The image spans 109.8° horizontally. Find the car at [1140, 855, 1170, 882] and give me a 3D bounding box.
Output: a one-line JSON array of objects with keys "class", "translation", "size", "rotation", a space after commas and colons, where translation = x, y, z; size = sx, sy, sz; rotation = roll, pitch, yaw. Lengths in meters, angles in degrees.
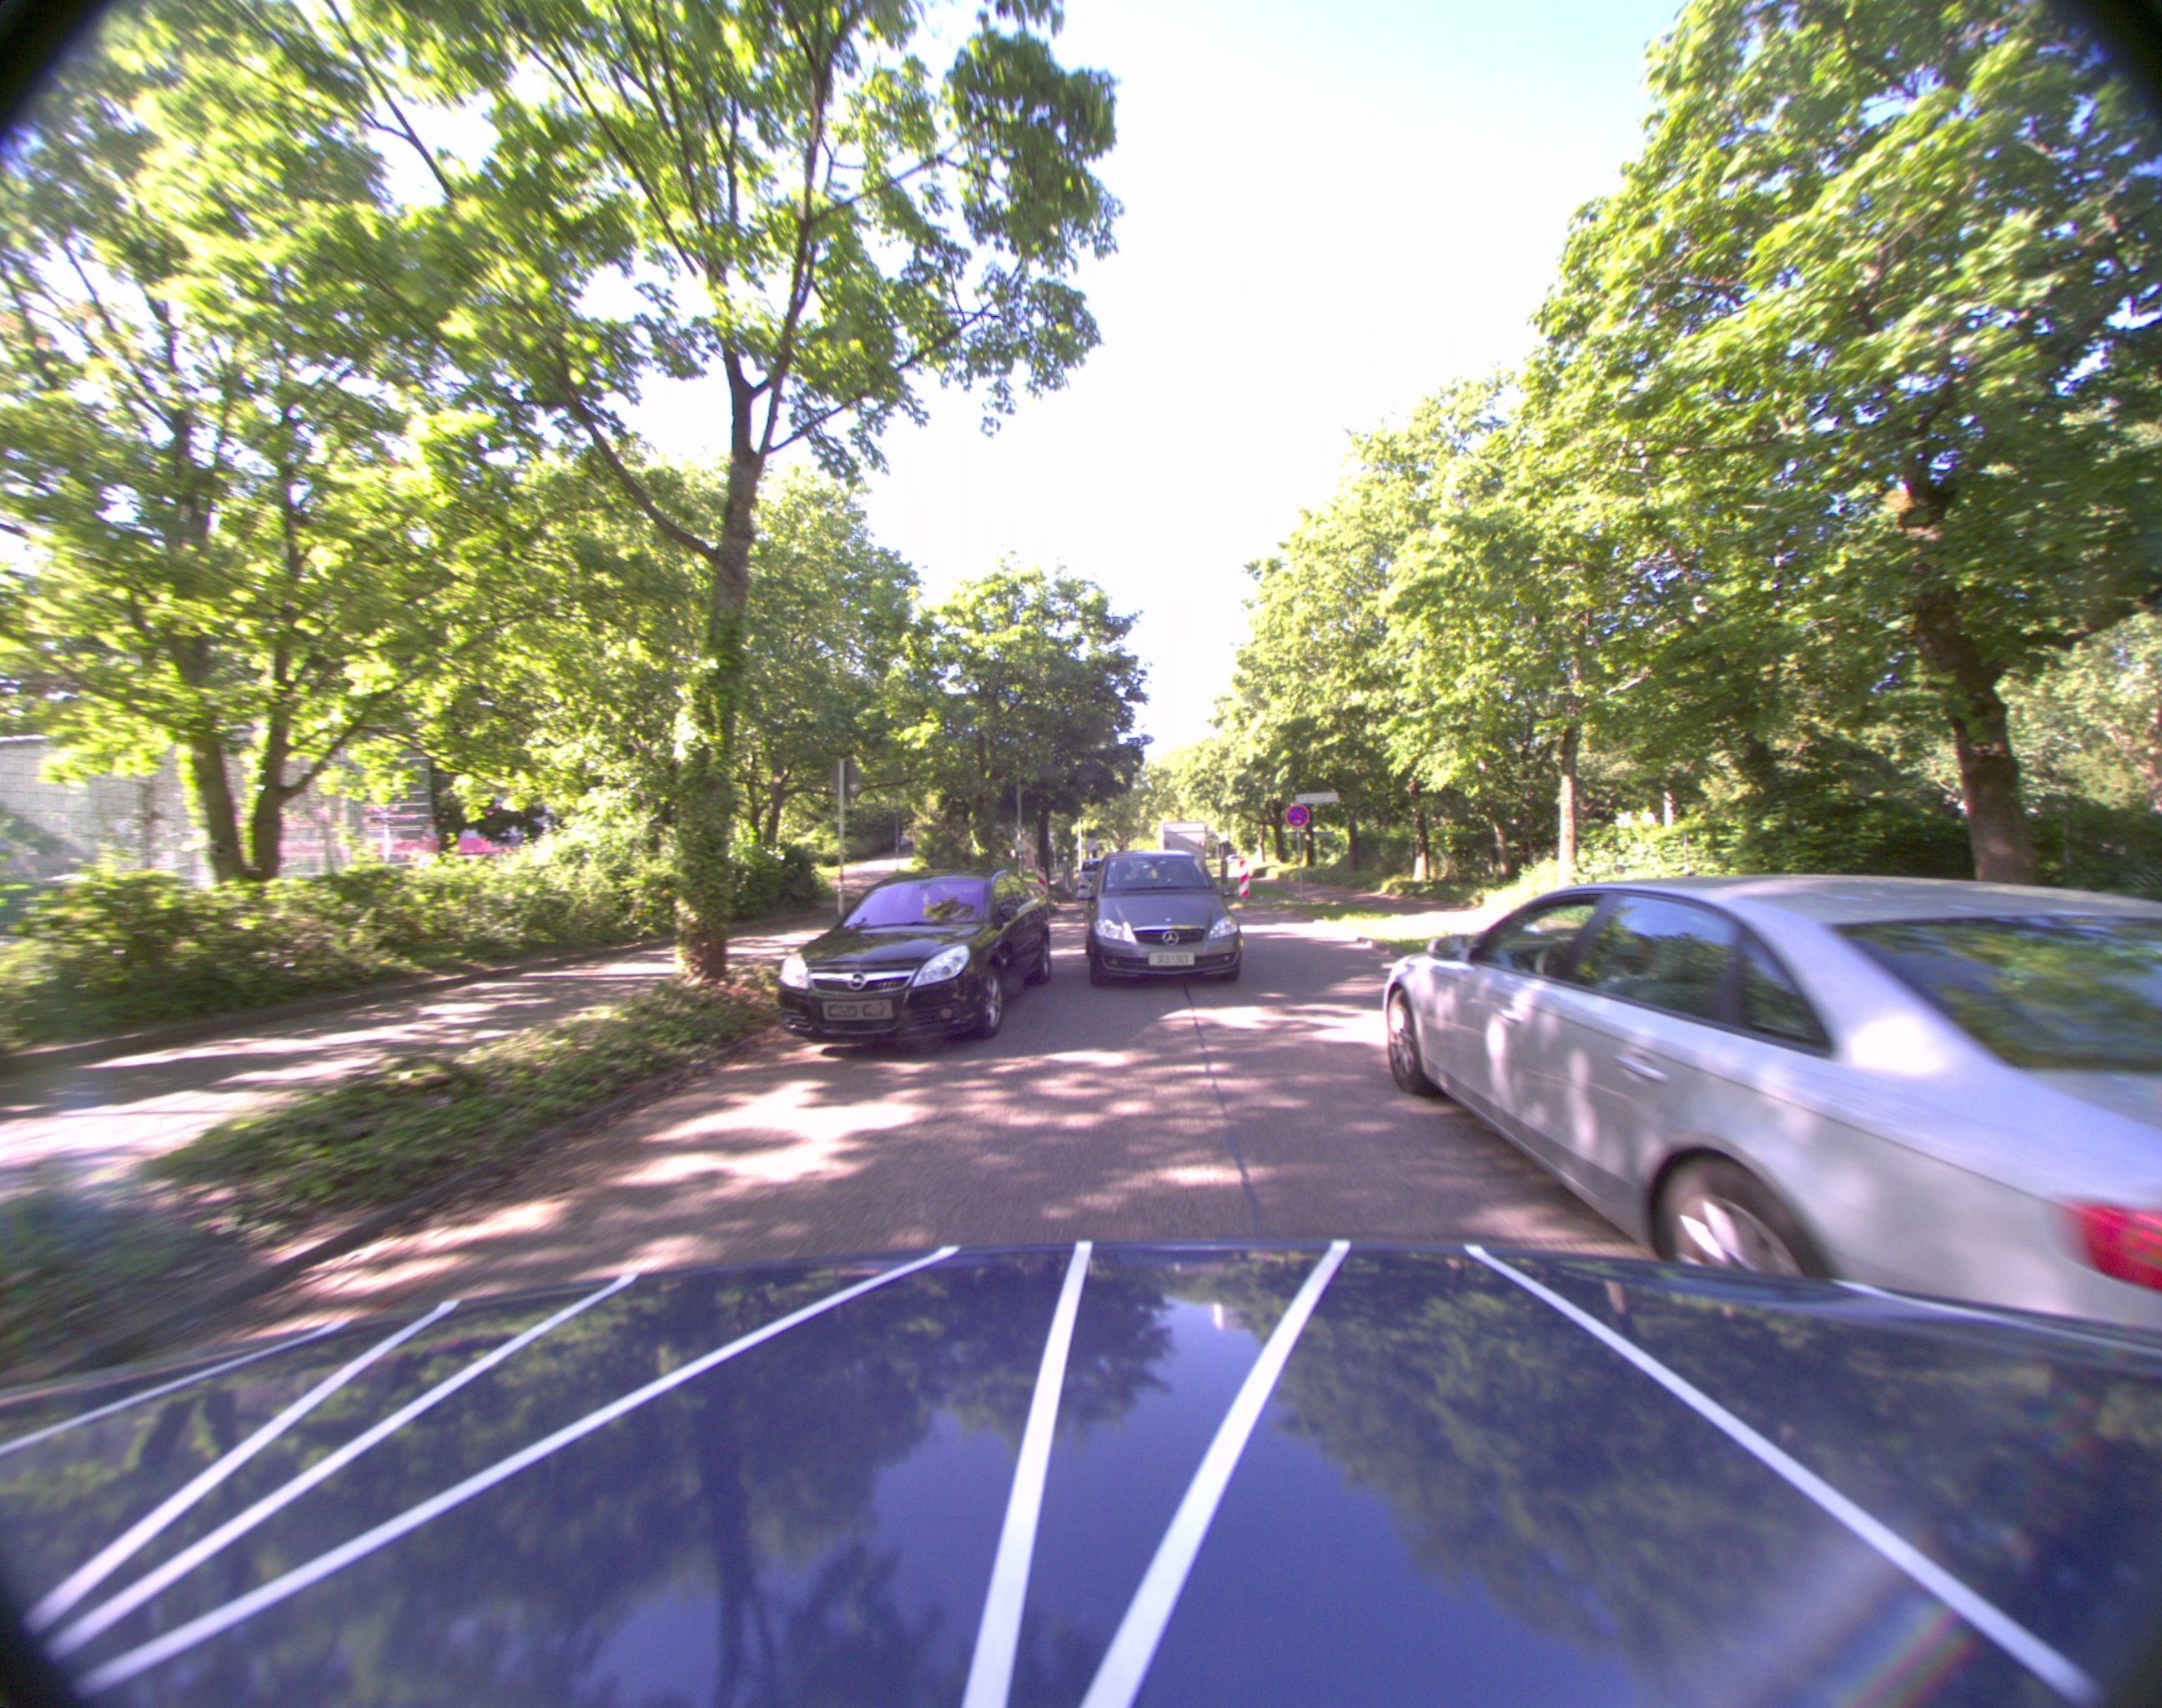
[{"class": "car", "translation": [4.087, 0.790, 42.406], "size": [1.604, 1.418, 3.653], "rotation": [0, 0, 5]}]

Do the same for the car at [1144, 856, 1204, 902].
[{"class": "car", "translation": [3.130, 0.815, 26.301], "size": [1.759, 1.445, 4.244], "rotation": [0, 0, 3]}]

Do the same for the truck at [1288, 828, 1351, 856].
[{"class": "truck", "translation": [17.579, -0.875, 56.221], "size": [3.996, 2.002, 2.204], "rotation": [-1, 0, 3]}]

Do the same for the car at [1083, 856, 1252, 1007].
[{"class": "car", "translation": [0.944, 0.853, 10.258], "size": [1.734, 1.578, 4.000], "rotation": [-2, 0, -1]}]

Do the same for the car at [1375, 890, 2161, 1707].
[{"class": "car", "translation": [2.589, 0.933, 2.826], "size": [1.790, 1.408, 4.106], "rotation": [0, 0, 6]}]

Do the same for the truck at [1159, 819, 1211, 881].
[{"class": "truck", "translation": [6.683, -0.240, 49.710], "size": [2.740, 3.620, 8.103], "rotation": [-2, 0, 4]}]

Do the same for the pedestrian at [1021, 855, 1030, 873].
[{"class": "pedestrian", "translation": [-5.897, 1.055, 81.074], "size": [0.792, 1.821, 0.671], "rotation": [-2, 0, 5]}]

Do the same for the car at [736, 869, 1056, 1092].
[{"class": "car", "translation": [-1.457, 0.995, 7.633], "size": [1.752, 1.472, 4.032], "rotation": [-3, 1, 7]}]
